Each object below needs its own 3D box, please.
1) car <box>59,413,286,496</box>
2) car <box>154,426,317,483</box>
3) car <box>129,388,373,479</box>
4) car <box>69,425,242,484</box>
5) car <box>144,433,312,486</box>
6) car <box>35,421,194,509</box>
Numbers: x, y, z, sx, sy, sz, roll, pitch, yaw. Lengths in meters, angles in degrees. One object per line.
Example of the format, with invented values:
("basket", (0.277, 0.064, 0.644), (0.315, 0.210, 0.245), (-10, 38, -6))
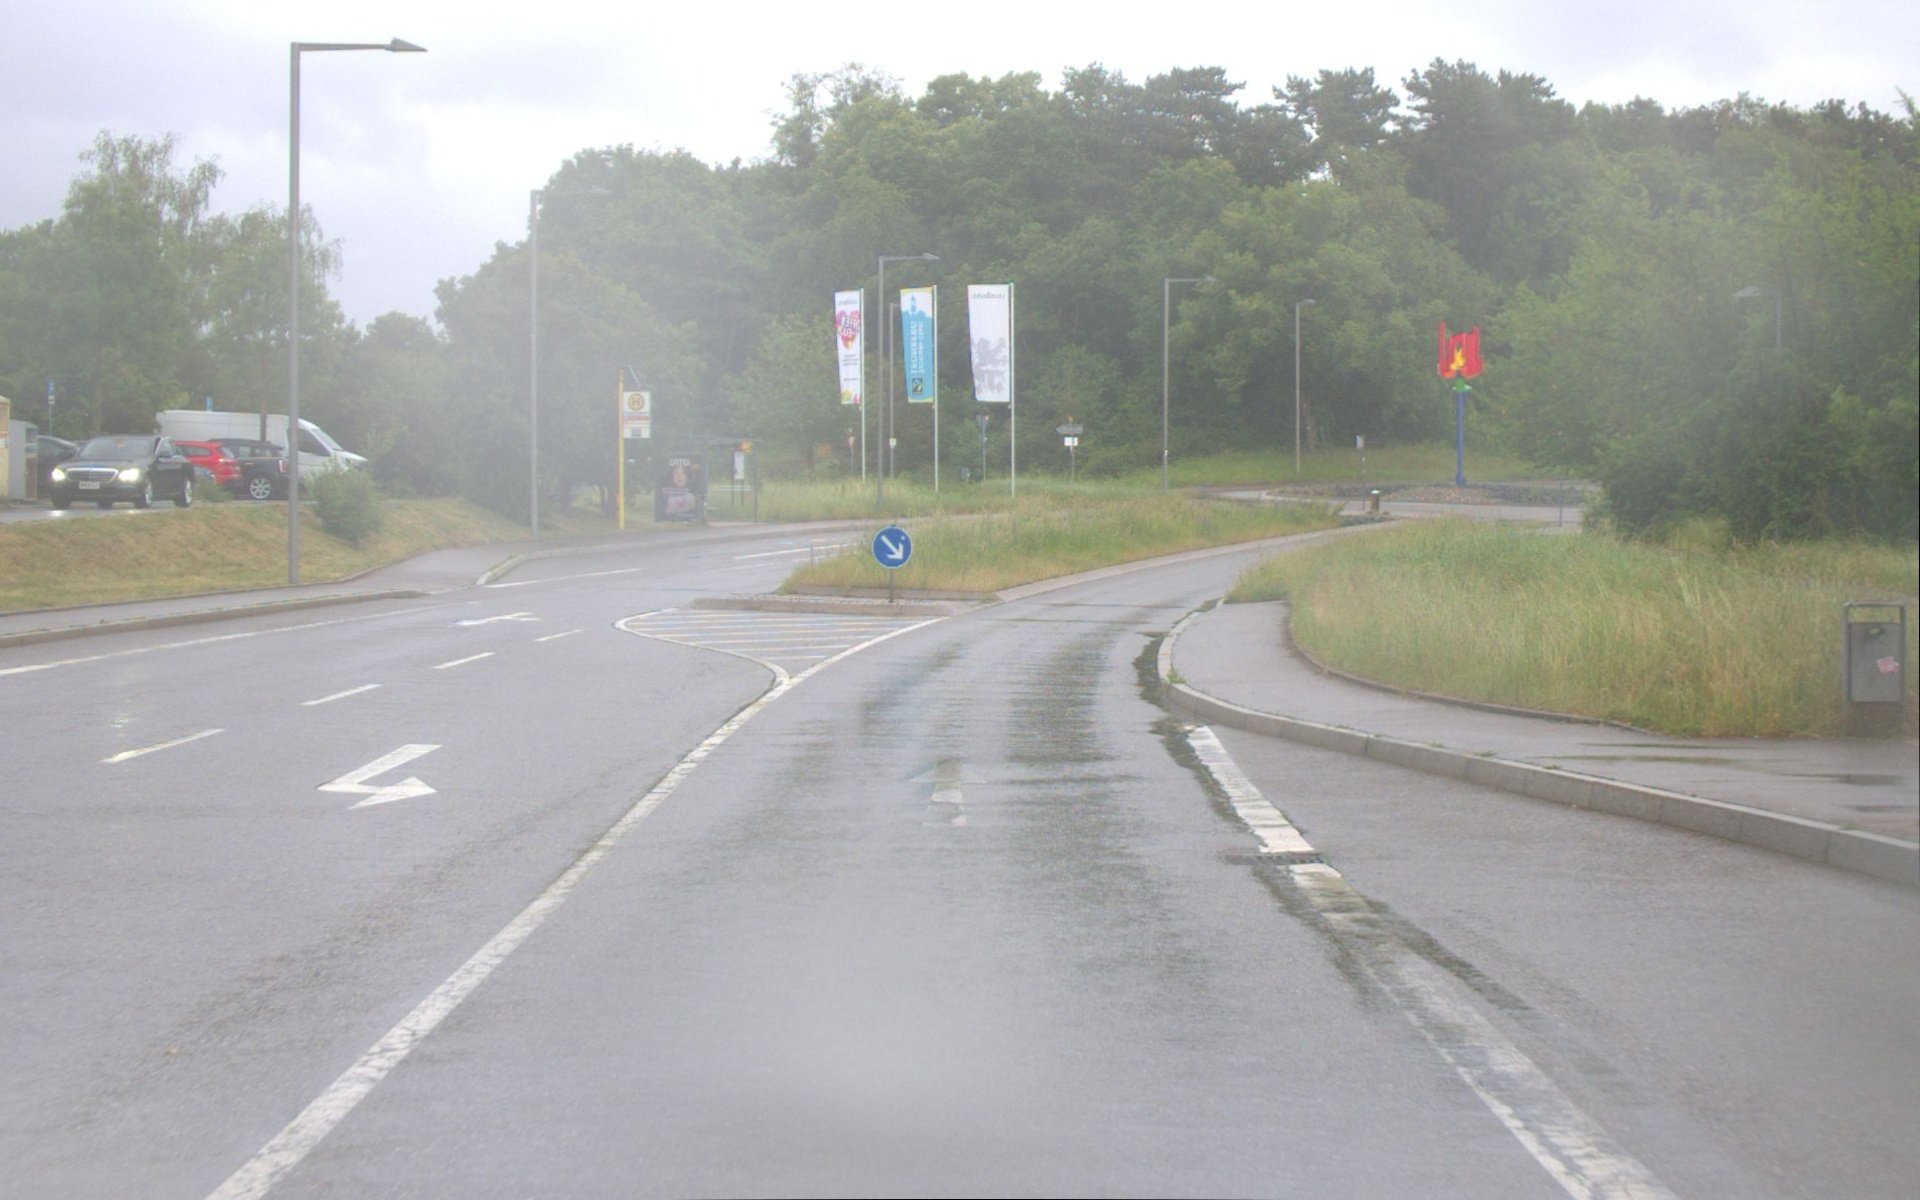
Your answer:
("car", (-18.206, -3.366, 79.590), (4.707, 1.687, 2.005), (3, 2, 5))
("car", (-19.801, -3.973, 94.034), (3.988, 1.359, 1.652), (3, 3, 7))
("car", (-20.532, -4.805, 99.742), (6.555, 2.389, 2.139), (2, 1, 1))
("car", (-20.775, -3.759, 88.843), (3.988, 1.464, 1.848), (1, 2, 6))
("car", (-19.543, -3.754, 91.873), (3.988, 1.359, 1.847), (1, 2, 7))
("car", (-16.661, -2.699, 67.955), (1.691, 1.562, 4.542), (3, 4, 4))
